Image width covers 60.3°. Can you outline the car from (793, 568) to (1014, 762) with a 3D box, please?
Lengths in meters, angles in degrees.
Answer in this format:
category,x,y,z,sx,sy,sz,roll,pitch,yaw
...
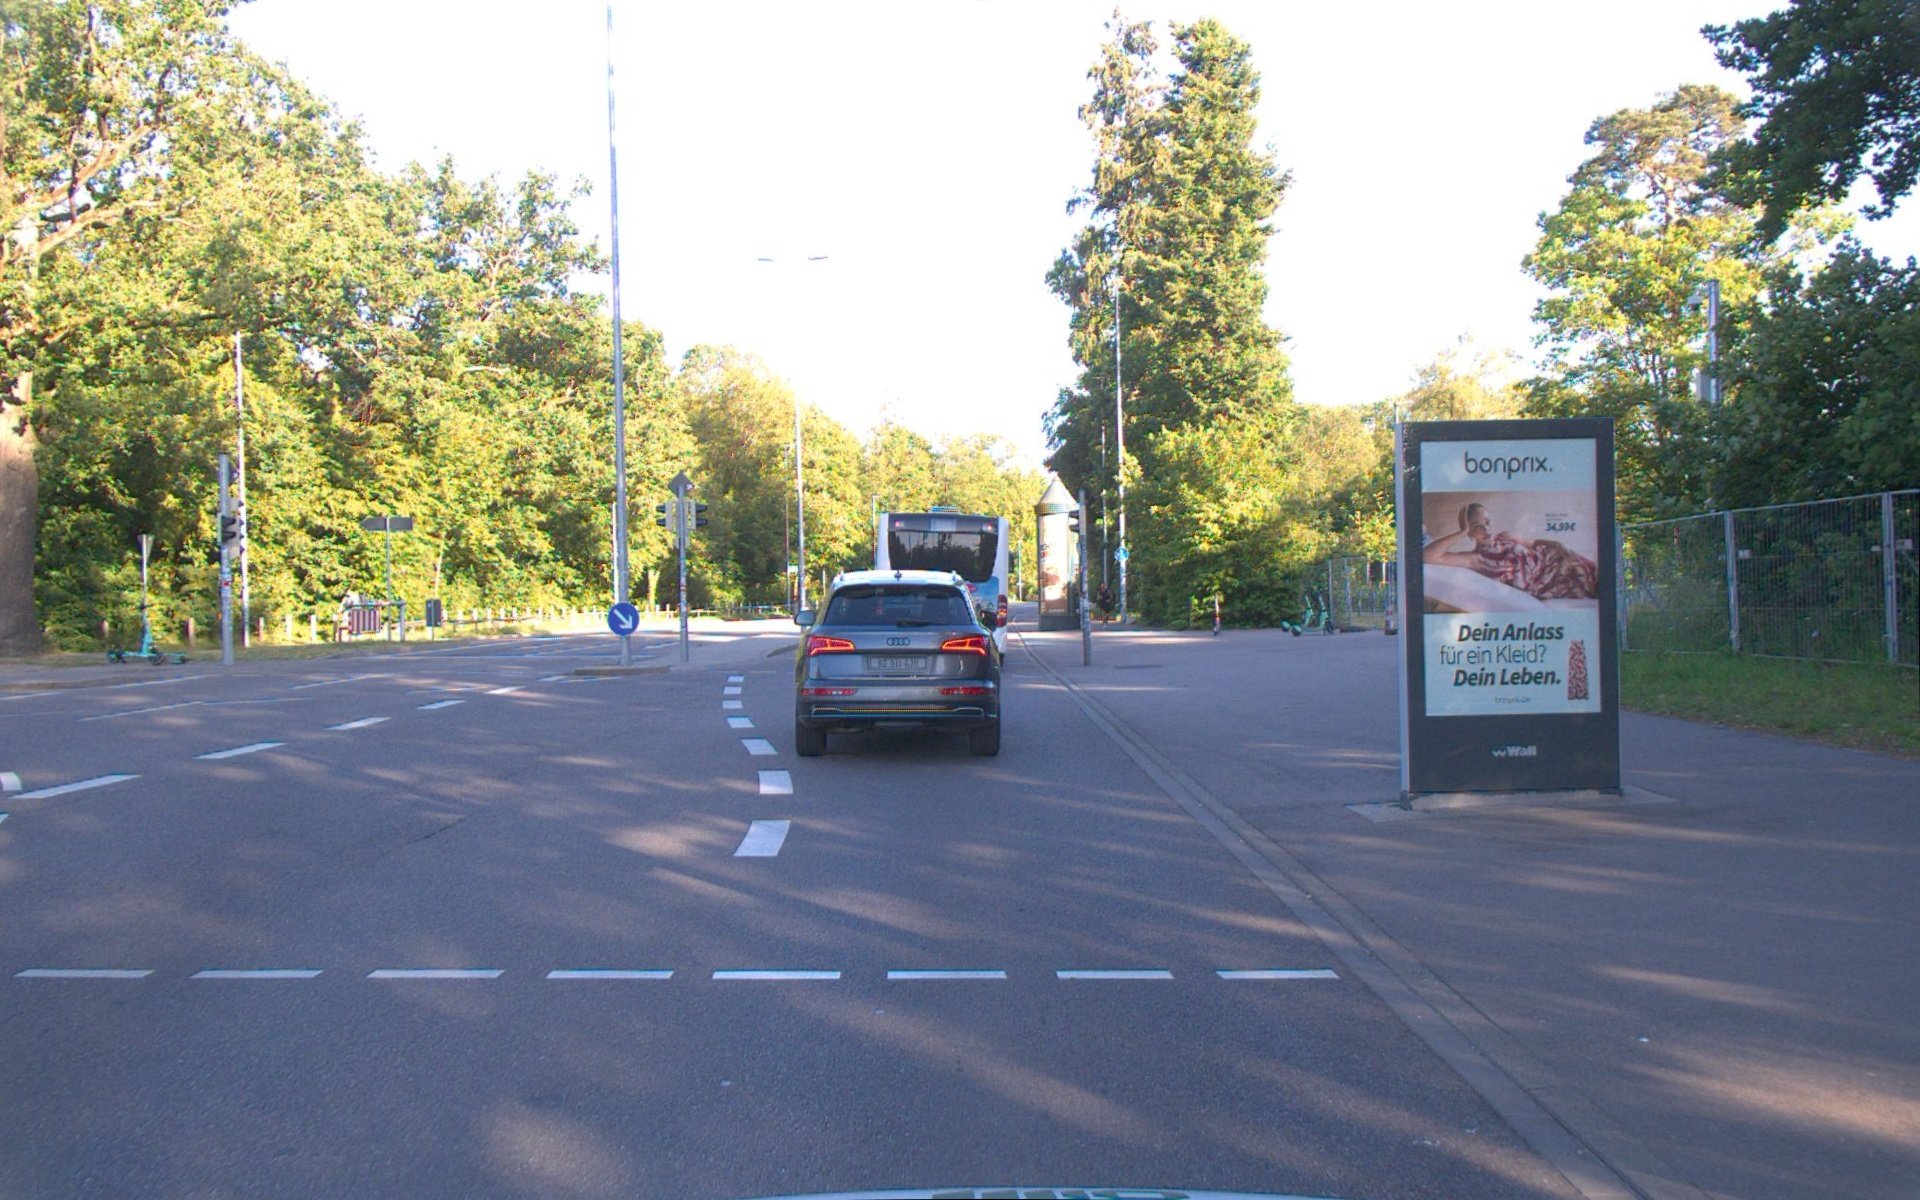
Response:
category,x,y,z,sx,sy,sz,roll,pitch,yaw
car,-0.508,0.537,16.242,1.854,1.633,4.543,0,0,-1

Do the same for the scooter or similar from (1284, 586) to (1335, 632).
category,x,y,z,sx,sy,sz,roll,pitch,yaw
scooter or similar,9.324,0.248,44.134,1.239,1.167,0.394,-3,-2,7

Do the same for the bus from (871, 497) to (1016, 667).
category,x,y,z,sx,sy,sz,roll,pitch,yaw
bus,-0.384,-0.330,36.306,2.635,3.096,12.039,0,0,-1

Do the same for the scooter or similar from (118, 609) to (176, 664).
category,x,y,z,sx,sy,sz,roll,pitch,yaw
scooter or similar,-17.529,0.788,35.676,1.044,1.166,0.394,-1,1,7

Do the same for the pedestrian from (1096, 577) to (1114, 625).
category,x,y,z,sx,sy,sz,roll,pitch,yaw
pedestrian,5.280,0.028,60.247,0.612,1.718,0.883,0,0,9

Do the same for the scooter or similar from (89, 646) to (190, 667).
category,x,y,z,sx,sy,sz,roll,pitch,yaw
scooter or similar,-16.835,1.162,33.964,1.377,0.345,1.261,-1,1,7

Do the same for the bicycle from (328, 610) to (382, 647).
category,x,y,z,sx,sy,sz,roll,pitch,yaw
bicycle,-20.986,0.986,57.439,0.665,1.174,1.986,0,2,18

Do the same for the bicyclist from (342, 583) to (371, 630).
category,x,y,z,sx,sy,sz,roll,pitch,yaw
bicyclist,-20.956,0.216,57.476,0.550,1.578,0.801,0,2,17

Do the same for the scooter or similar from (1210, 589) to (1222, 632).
category,x,y,z,sx,sy,sz,roll,pitch,yaw
scooter or similar,7.333,0.290,47.441,0.275,1.191,1.410,-2,1,8

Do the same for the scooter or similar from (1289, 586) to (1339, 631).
category,x,y,z,sx,sy,sz,roll,pitch,yaw
scooter or similar,9.589,0.239,44.782,1.219,1.187,0.394,-2,-1,25

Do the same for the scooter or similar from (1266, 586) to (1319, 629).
category,x,y,z,sx,sy,sz,roll,pitch,yaw
scooter or similar,9.600,0.230,47.824,1.411,1.187,0.393,-3,-2,29
